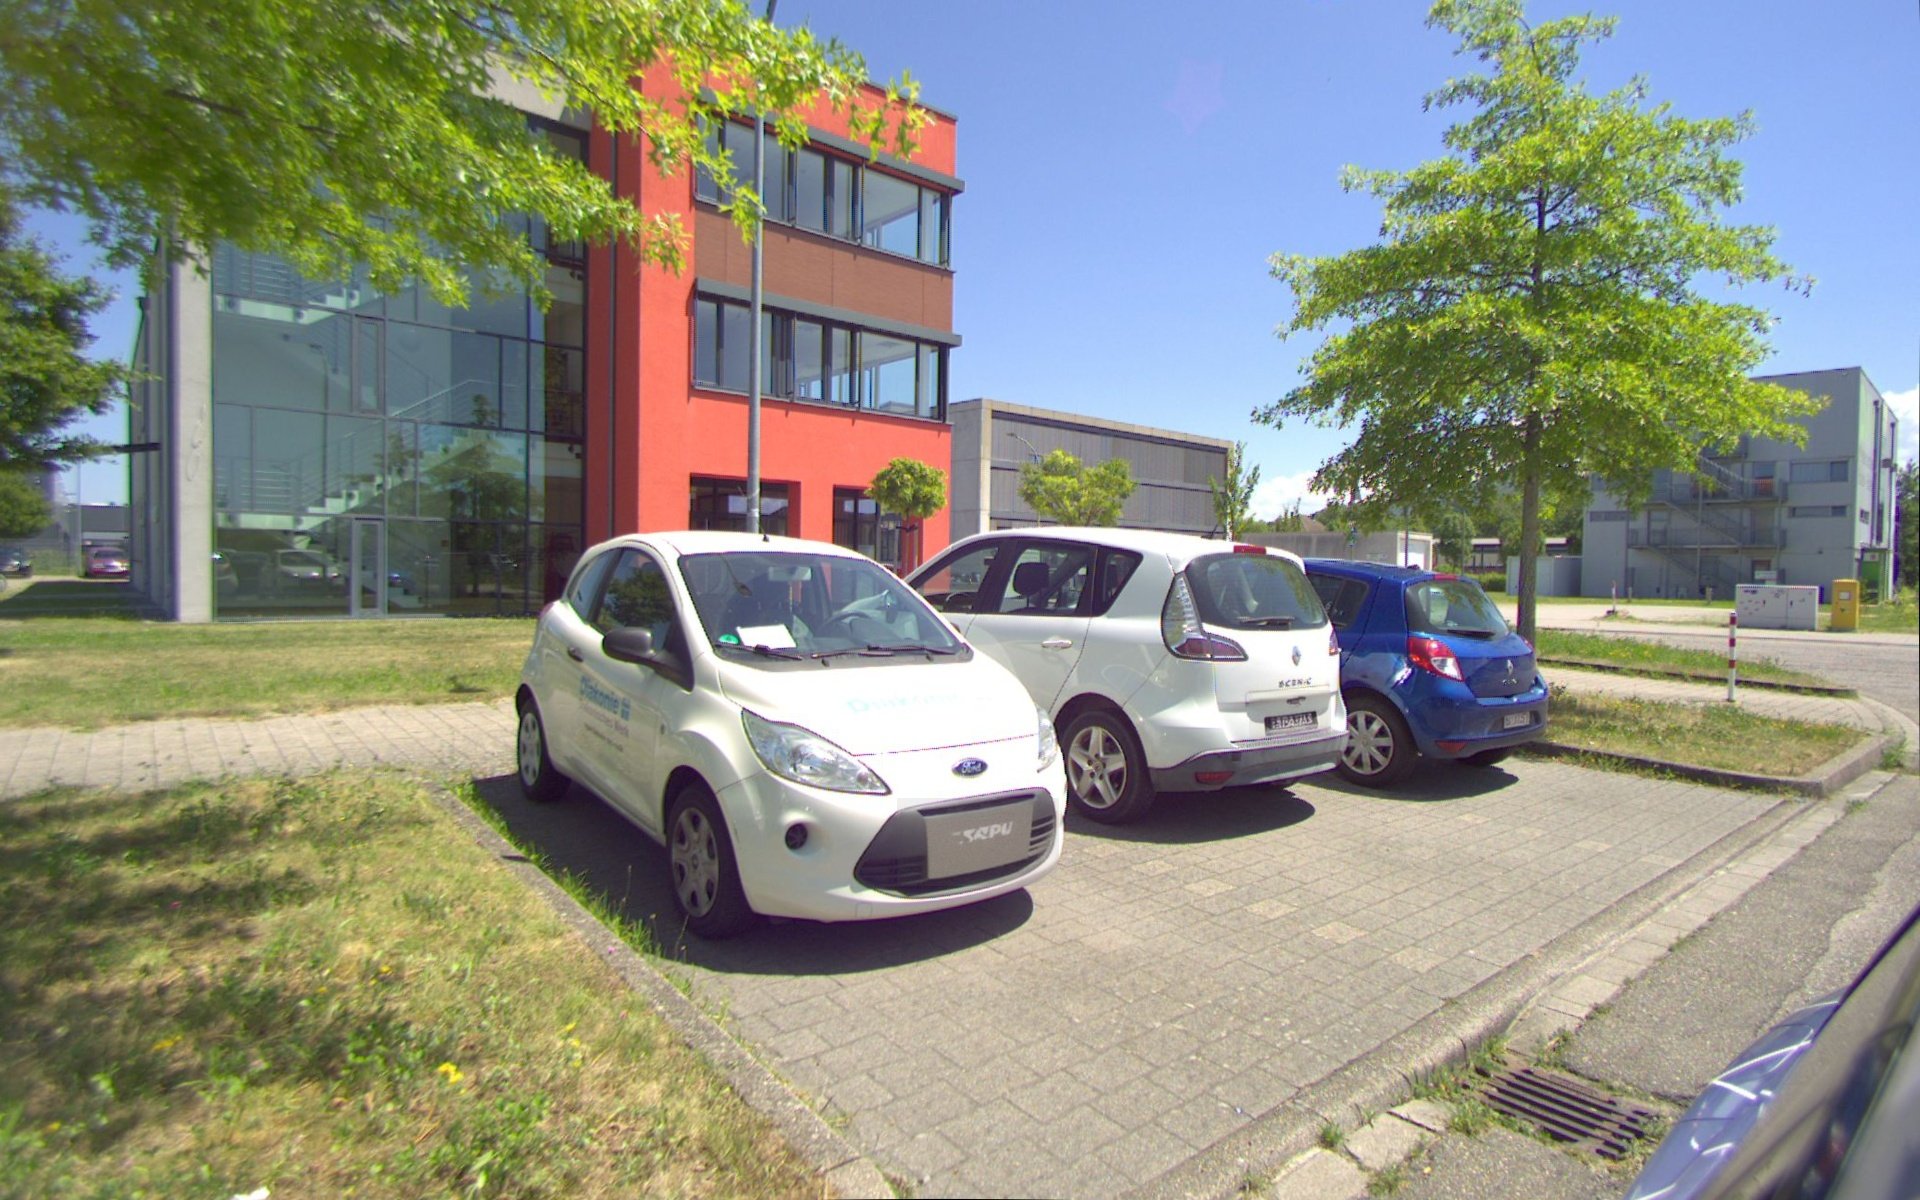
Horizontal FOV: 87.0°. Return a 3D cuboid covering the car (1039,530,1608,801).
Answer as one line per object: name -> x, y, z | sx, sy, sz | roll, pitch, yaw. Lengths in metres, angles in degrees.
car -> 2.622, 0.293, 8.194 | 1.695, 1.508, 4.011 | 1, 5, -36

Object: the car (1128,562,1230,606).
car -> 8.442, -0.666, 39.152 | 1.632, 1.518, 3.621 | -4, 5, -43

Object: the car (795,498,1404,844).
car -> 0.636, 0.239, 7.041 | 1.741, 1.670, 4.122 | 0, 3, -38

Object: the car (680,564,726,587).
car -> -17.841, -1.710, 70.104 | 1.631, 1.487, 3.623 | -4, 5, -41

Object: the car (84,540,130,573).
car -> -42.132, -2.178, 50.031 | 1.689, 1.528, 3.996 | -1, 3, -40

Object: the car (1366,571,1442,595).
car -> 29.676, -1.142, 67.706 | 1.680, 1.484, 4.365 | -1, 3, -41

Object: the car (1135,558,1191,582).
car -> 14.024, -2.085, 70.151 | 1.630, 1.518, 3.624 | -4, 4, -40

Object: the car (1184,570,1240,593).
car -> 17.996, -1.356, 72.424 | 1.630, 1.518, 3.624 | -4, 4, -40

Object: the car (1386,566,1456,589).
car -> 31.570, -1.535, 69.335 | 1.630, 1.484, 4.051 | -1, 3, -41

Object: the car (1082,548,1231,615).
car -> 5.654, -0.542, 29.439 | 1.778, 1.797, 3.995 | 2, 0, -40

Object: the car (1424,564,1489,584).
car -> 36.929, -1.969, 75.301 | 1.630, 1.404, 4.051 | -1, 3, -41

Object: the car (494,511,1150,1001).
car -> -0.997, 0.352, 4.976 | 1.581, 1.481, 3.630 | 0, 4, -37

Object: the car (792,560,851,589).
car -> -8.024, -1.496, 58.264 | 1.631, 1.487, 3.623 | -4, 5, -41

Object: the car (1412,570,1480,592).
car -> 34.839, -1.382, 72.630 | 1.630, 1.442, 4.051 | -1, 3, -41

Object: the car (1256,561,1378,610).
car -> 12.273, -0.531, 34.932 | 1.655, 1.518, 3.623 | -4, 5, -41

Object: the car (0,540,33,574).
car -> -44.987, -2.038, 47.736 | 1.689, 1.528, 3.996 | -1, 3, -40
